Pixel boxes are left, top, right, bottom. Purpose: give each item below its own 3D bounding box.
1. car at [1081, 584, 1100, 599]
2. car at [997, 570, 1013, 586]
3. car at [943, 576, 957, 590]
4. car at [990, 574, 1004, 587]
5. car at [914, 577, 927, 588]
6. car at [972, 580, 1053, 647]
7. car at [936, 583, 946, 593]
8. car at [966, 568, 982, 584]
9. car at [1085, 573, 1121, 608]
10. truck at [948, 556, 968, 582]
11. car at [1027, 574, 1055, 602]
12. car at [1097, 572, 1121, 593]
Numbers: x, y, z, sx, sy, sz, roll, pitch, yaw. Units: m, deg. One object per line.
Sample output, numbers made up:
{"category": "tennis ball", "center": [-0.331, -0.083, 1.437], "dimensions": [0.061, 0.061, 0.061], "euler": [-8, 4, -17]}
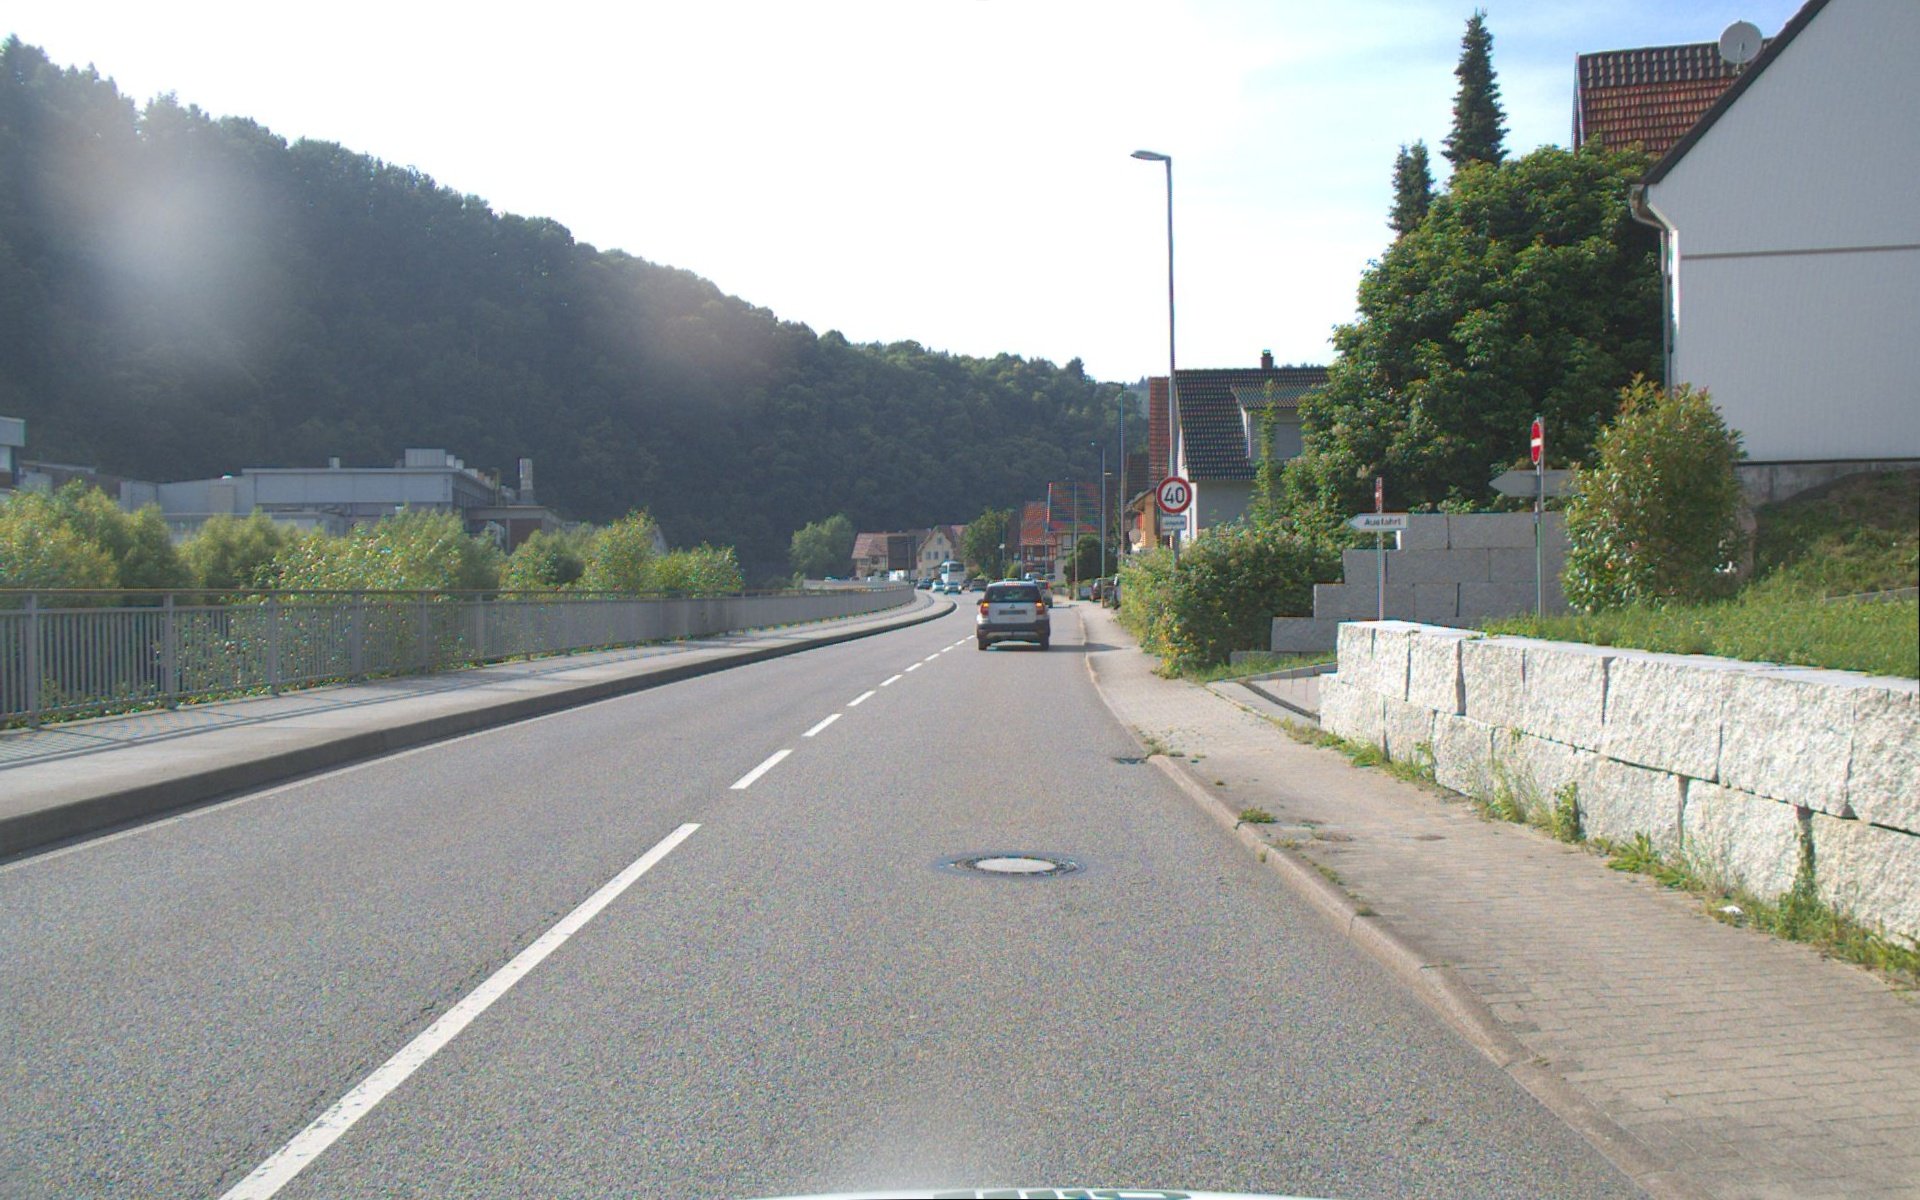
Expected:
{"category": "car", "center": [8.881, -0.594, 112.662], "dimensions": [1.269, 0.991, 2.923], "euler": [-1, 0, 5]}
{"category": "car", "center": [3.846, -1.902, 142.594], "dimensions": [1.336, 1.300, 3.083], "euler": [-1, 0, 1]}
{"category": "car", "center": [-1.120, -1.811, 176.751], "dimensions": [1.404, 1.407, 3.134], "euler": [-1, 2, -2]}
{"category": "car", "center": [3.585, -1.908, 162.484], "dimensions": [1.336, 1.300, 3.083], "euler": [-1, 0, 1]}
{"category": "car", "center": [-5.805, -2.558, 242.399], "dimensions": [1.714, 1.571, 3.997], "euler": [-1, 2, -4]}
{"category": "car", "center": [1.370, 0.307, 41.345], "dimensions": [1.822, 1.571, 4.376], "euler": [-1, 0, 4]}
{"category": "car", "center": [-2.371, -1.509, 207.182], "dimensions": [1.336, 1.300, 3.082], "euler": [-1, 0, -1]}
{"category": "car", "center": [1.604, -2.750, 190.982], "dimensions": [1.639, 1.783, 3.450], "euler": [-1, 2, 3]}
{"category": "car", "center": [6.962, -0.448, 80.320], "dimensions": [1.575, 1.674, 3.653], "euler": [-1, 0, 7]}
{"category": "truck", "center": [-0.273, -4.200, 222.542], "dimensions": [2.673, 3.433, 6.479], "euler": [-1, 2, 0]}
{"category": "car", "center": [4.687, -0.678, 96.225], "dimensions": [1.588, 1.568, 3.279], "euler": [-1, 0, 2]}
{"category": "car", "center": [9.468, -1.111, 104.894], "dimensions": [1.512, 1.238, 3.279], "euler": [-1, 0, 6]}
